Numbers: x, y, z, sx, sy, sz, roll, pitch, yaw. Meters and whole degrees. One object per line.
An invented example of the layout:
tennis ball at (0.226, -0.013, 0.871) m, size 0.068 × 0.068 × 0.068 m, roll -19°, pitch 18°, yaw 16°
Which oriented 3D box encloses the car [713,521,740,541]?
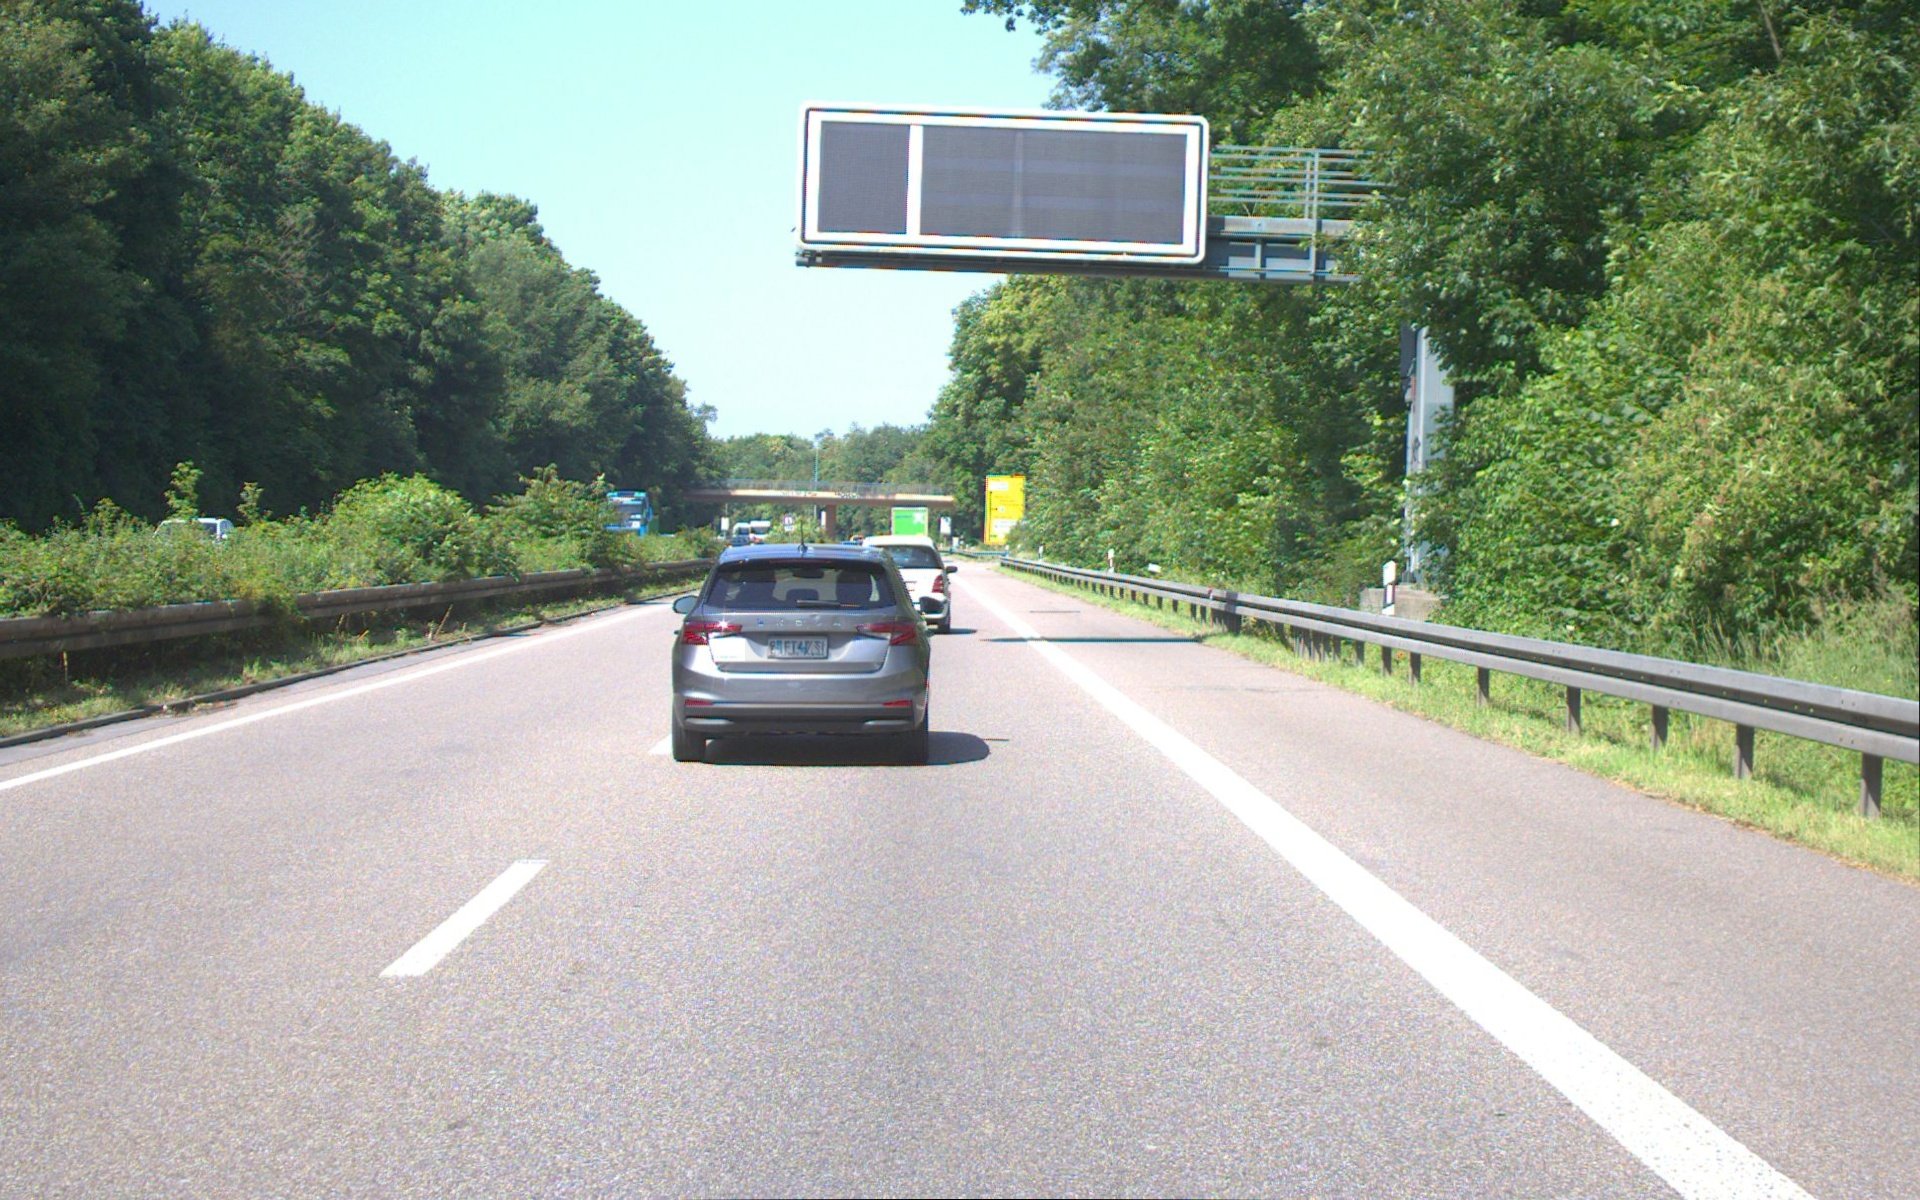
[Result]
car at (-17.351, -5.142, 255.785) m, size 1.672 × 1.468 × 3.623 m, roll 1°, pitch 1°, yaw 1°

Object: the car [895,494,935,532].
car at (-3.197, -6.180, 245.264) m, size 2.748 × 2.645 × 4.000 m, roll 1°, pitch 1°, yaw -1°

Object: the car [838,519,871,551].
car at (-6.747, -4.140, 220.378) m, size 1.993 × 2.007 × 4.000 m, roll 1°, pitch 1°, yaw -1°

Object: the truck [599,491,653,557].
truck at (-18.813, -4.270, 193.686) m, size 2.646 × 3.693 × 4.000 m, roll 1°, pitch 1°, yaw 0°

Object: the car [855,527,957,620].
car at (-0.850, -0.452, 55.860) m, size 1.522 × 1.442 × 3.340 m, roll 1°, pitch 1°, yaw 1°

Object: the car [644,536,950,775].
car at (-1.036, 0.318, 23.480) m, size 1.840 × 1.467 × 3.623 m, roll 1°, pitch 1°, yaw 1°
